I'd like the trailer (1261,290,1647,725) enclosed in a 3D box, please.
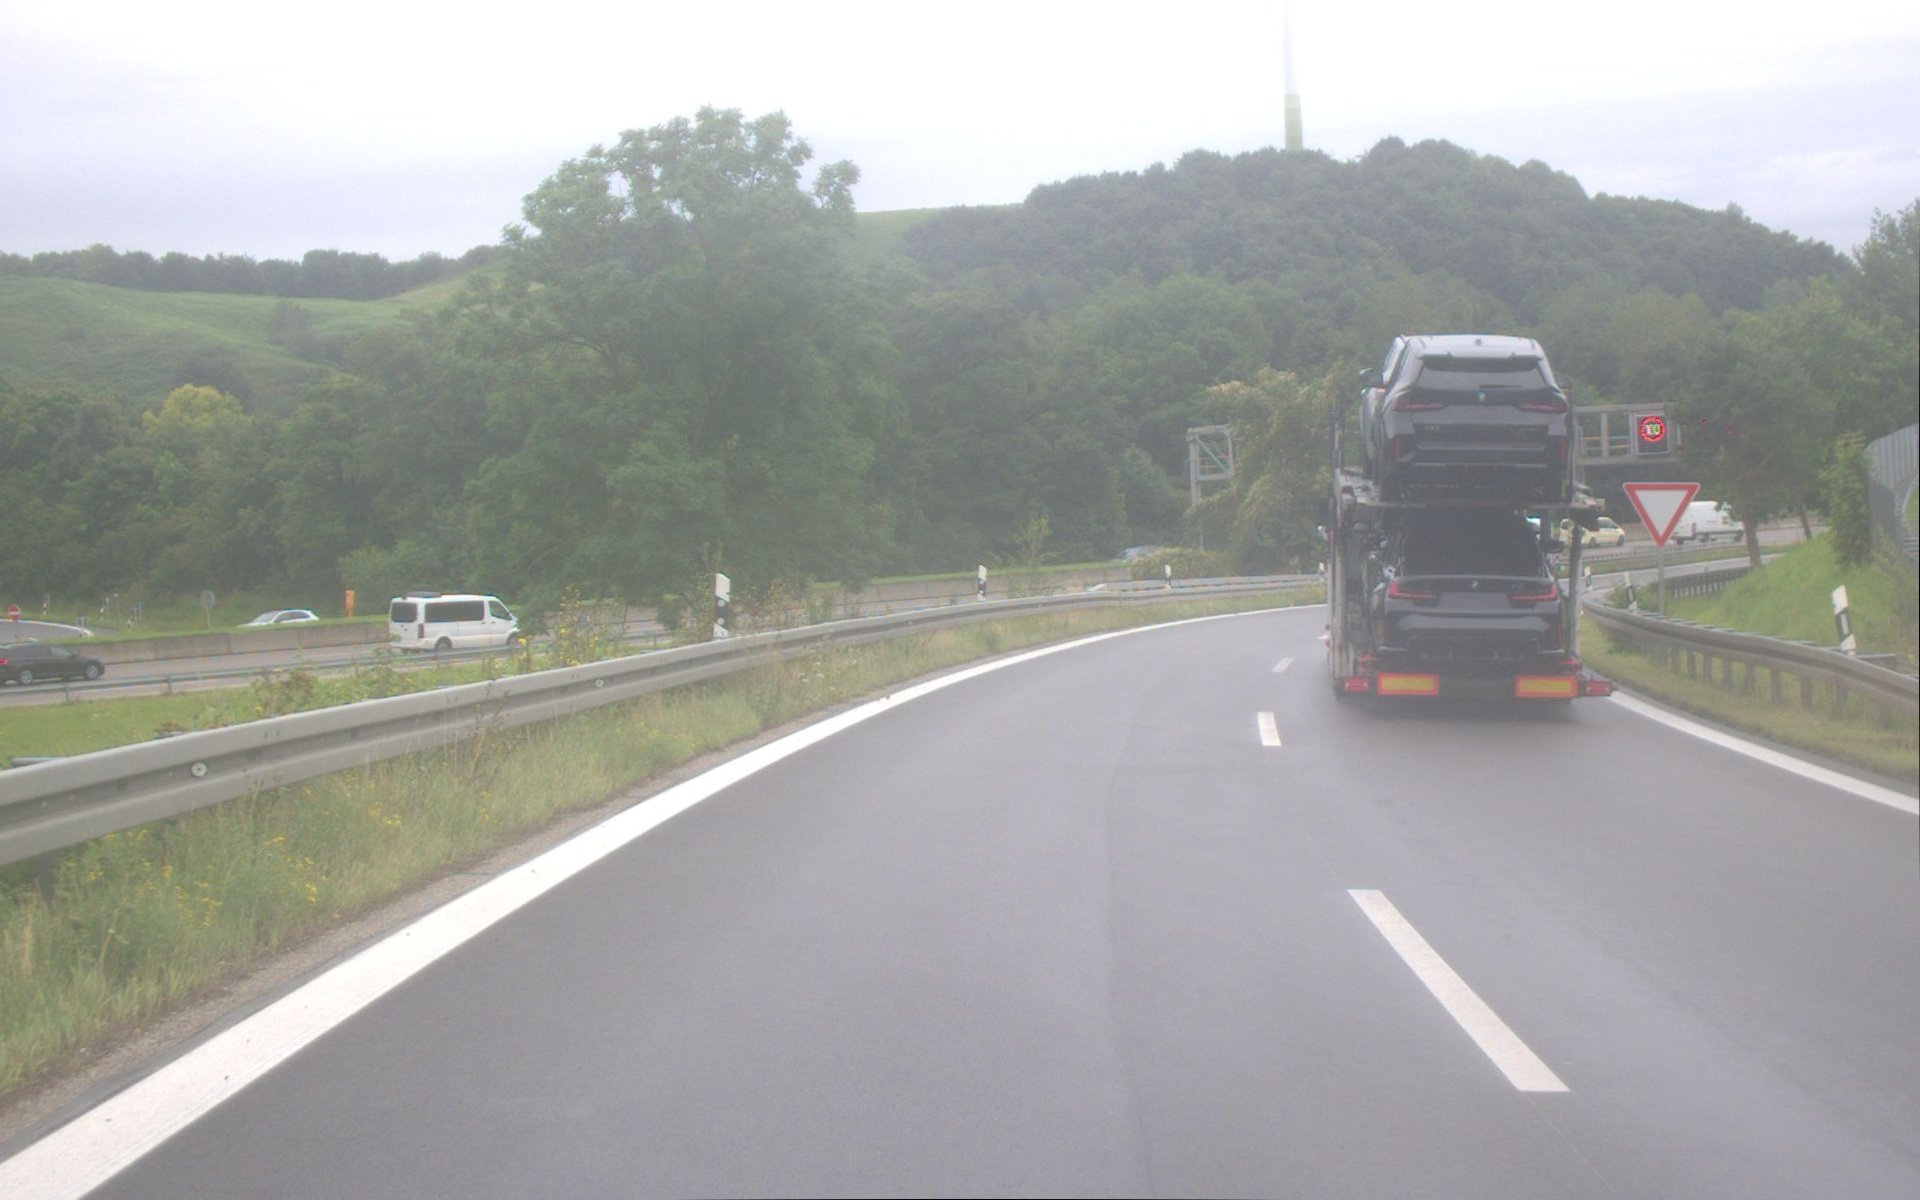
[{"bbox_3d":[5.124,-0.928,38.051,3.449,3.986,12.024,1,1,5],"label":"trailer"}]

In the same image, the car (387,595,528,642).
[{"bbox_3d":[-19.509,0.717,133.744,1.998,1.711,5.311,-1,0,43],"label":"car"}]

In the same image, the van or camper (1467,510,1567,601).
[{"bbox_3d":[14.228,-1.123,87.605,2.094,2.224,4.428,1,1,14],"label":"van or camper"}]

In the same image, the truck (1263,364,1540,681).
[{"bbox_3d":[6.138,-1.049,49.515,3.395,3.986,10.845,1,1,5],"label":"truck"}]

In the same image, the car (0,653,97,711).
[{"bbox_3d":[-33.444,2.995,123.870,1.998,1.711,3.991,-6,0,43],"label":"car"}]
